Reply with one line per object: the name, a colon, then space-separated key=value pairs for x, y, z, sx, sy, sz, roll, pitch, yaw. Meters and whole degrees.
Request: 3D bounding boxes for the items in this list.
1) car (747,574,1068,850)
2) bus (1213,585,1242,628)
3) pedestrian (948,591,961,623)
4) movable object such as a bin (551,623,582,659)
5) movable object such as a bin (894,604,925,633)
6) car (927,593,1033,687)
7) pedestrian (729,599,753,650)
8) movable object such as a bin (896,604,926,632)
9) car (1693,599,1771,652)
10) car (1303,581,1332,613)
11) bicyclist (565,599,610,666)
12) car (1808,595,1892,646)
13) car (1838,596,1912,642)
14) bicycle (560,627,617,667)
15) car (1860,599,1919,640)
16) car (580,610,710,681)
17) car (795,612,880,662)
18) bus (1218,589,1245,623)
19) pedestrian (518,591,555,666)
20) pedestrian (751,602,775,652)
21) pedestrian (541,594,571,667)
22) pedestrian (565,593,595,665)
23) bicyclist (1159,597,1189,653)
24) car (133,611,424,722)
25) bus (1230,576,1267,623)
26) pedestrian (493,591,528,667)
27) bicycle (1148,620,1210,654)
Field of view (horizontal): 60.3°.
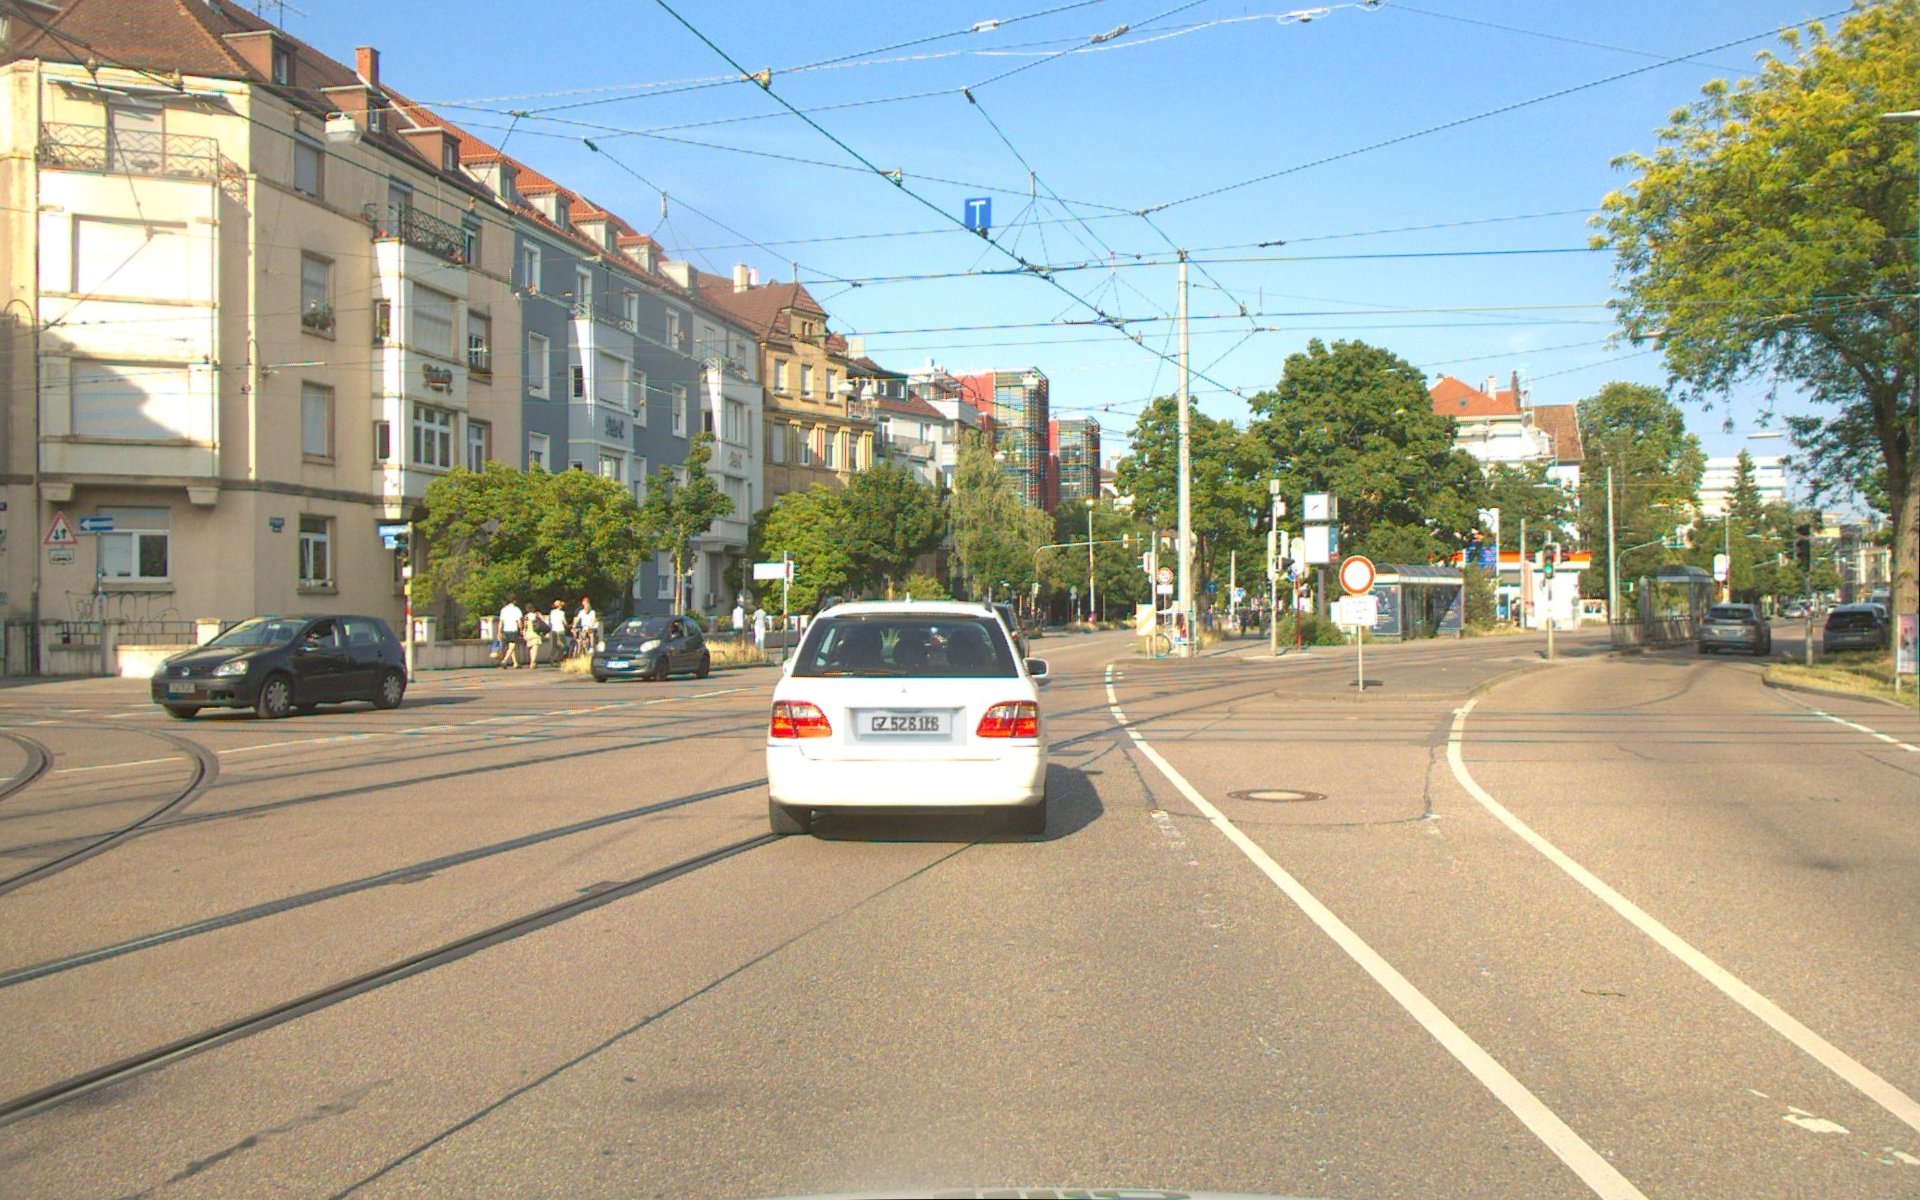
car: x=-0.321 y=0.650 z=11.343 sx=1.798 sy=1.528 sz=3.814 roll=1 pitch=0 yaw=-1
bus: x=17.297 y=0.449 z=107.009 sx=1.759 sy=2.600 sz=4.003 roll=2 pitch=-1 yaw=8
pedestrian: x=-0.294 y=0.389 z=92.704 sx=0.624 sy=1.781 sz=0.608 roll=-1 pitch=-1 yaw=10
movable object such as a bin: x=-10.700 y=1.115 z=45.028 sx=0.571 sy=0.963 sz=0.663 roll=0 pitch=-1 yaw=16
movable object such as a bin: x=-2.598 y=0.959 z=85.314 sx=1.570 sy=1.446 sz=1.084 roll=0 pitch=-1 yaw=0
car: x=0.438 y=0.723 z=31.376 sx=1.607 sy=1.628 sz=3.818 roll=1 pitch=0 yaw=6
pedestrian: x=-7.777 y=0.873 z=58.749 sx=0.624 sy=1.781 sz=0.912 roll=-1 pitch=-1 yaw=10
movable object such as a bin: x=-2.560 y=0.927 z=86.489 sx=1.502 sy=1.446 sz=1.084 roll=0 pitch=-1 yaw=0
car: x=25.242 y=0.827 z=54.040 sx=1.803 sy=1.628 sz=3.804 roll=1 pitch=-1 yaw=33
car: x=22.227 y=-0.172 z=102.788 sx=1.708 sy=1.906 sz=4.003 roll=0 pitch=-1 yaw=13
bicyclist: x=-9.538 y=0.832 z=42.396 sx=0.744 sy=1.697 sz=1.168 roll=0 pitch=0 yaw=8
car: x=28.858 y=0.655 z=53.580 sx=1.822 sy=1.542 sz=3.984 roll=-2 pitch=-1 yaw=36
car: x=31.983 y=0.652 z=57.793 sx=1.822 sy=1.542 sz=3.986 roll=-2 pitch=-1 yaw=35
bicycle: x=-9.530 y=1.193 z=42.491 sx=0.752 sy=0.982 sz=2.036 roll=0 pitch=0 yaw=8
car: x=37.301 y=0.764 z=66.171 sx=1.822 sy=1.542 sz=3.986 roll=-2 pitch=-1 yaw=35
car: x=-6.866 y=0.961 z=36.407 sx=1.599 sy=1.458 sz=3.631 roll=0 pitch=0 yaw=10
car: x=-3.656 y=1.118 z=49.934 sx=1.652 sy=1.445 sz=4.003 roll=-1 pitch=-1 yaw=9
bus: x=20.032 y=0.468 z=122.105 sx=1.759 sy=2.374 sz=4.003 roll=2 pitch=-1 yaw=8
pedestrian: x=-10.812 y=0.727 z=42.236 sx=0.660 sy=1.880 sz=0.650 roll=0 pitch=-1 yaw=14
pedestrian: x=-6.972 y=0.951 z=58.551 sx=0.624 sy=1.781 sz=0.912 roll=-1 pitch=-1 yaw=10
pedestrian: x=-10.798 y=0.808 z=44.190 sx=0.572 sy=1.914 sz=0.627 roll=0 pitch=-1 yaw=10
pedestrian: x=-10.188 y=0.765 z=44.321 sx=0.572 sy=1.914 sz=0.627 roll=0 pitch=-1 yaw=12
bicyclist: x=6.736 y=0.797 z=52.179 sx=0.880 sy=1.728 sz=0.733 roll=-2 pitch=-1 yaw=7
car: x=-9.777 y=0.900 z=24.062 sx=1.730 sy=1.458 sz=4.002 roll=-1 pitch=0 yaw=18
bus: x=15.911 y=-0.011 z=91.307 sx=1.759 sy=2.455 sz=4.003 roll=2 pitch=-1 yaw=8
pedestrian: x=-11.464 y=0.737 z=42.221 sx=0.644 sy=1.914 sz=0.627 roll=0 pitch=-1 yaw=11
bicycle: x=6.900 y=1.169 z=52.157 sx=1.873 sy=1.012 sz=0.727 roll=-2 pitch=-1 yaw=7
